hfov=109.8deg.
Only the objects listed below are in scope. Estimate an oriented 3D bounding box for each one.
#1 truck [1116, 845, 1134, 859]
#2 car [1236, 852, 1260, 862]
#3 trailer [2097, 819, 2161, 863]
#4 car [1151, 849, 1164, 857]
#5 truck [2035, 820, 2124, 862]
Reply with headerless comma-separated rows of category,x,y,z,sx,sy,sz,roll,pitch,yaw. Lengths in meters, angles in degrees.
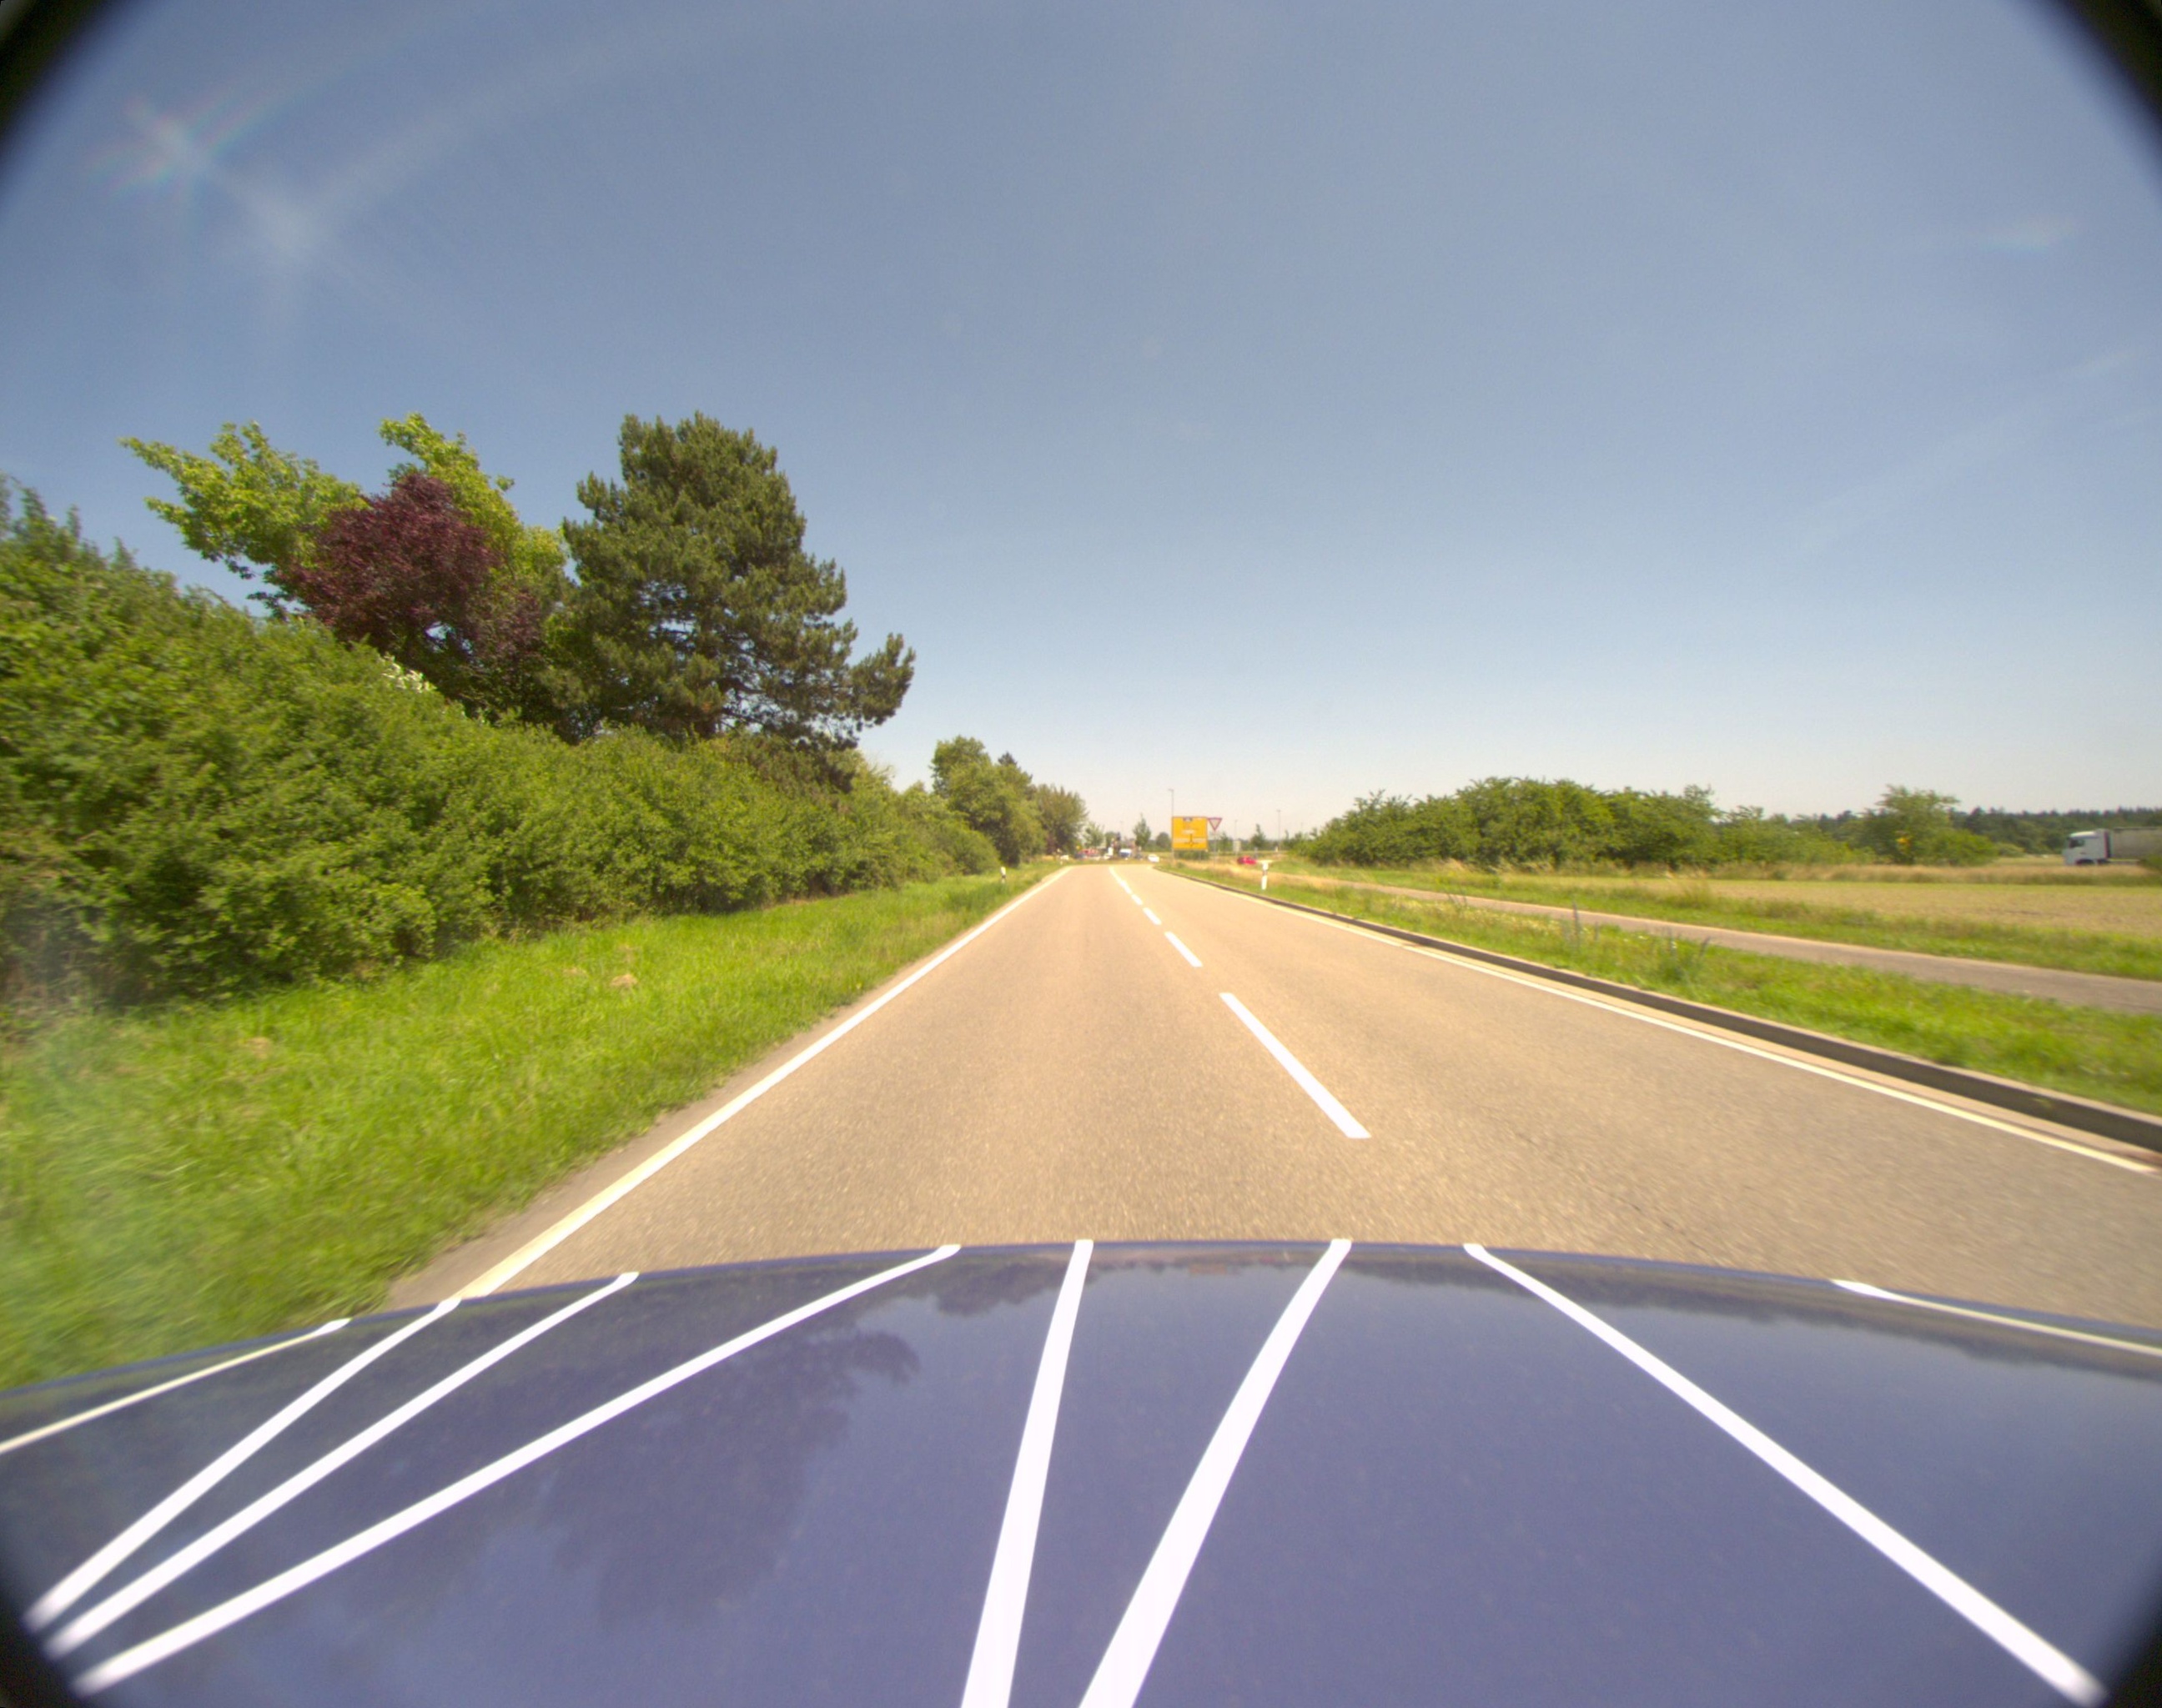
truck,7.979,-0.448,138.603,2.237,2.491,5.632,0,1,-6
car,25.009,0.475,113.829,3.744,1.425,1.655,1,1,-43
trailer,100.008,-1.152,65.955,2.647,3.911,13.848,0,1,-28
car,13.247,-0.185,131.693,1.746,1.419,3.999,0,1,-1
truck,96.081,-1.186,73.184,2.647,3.911,4.767,0,1,-29
